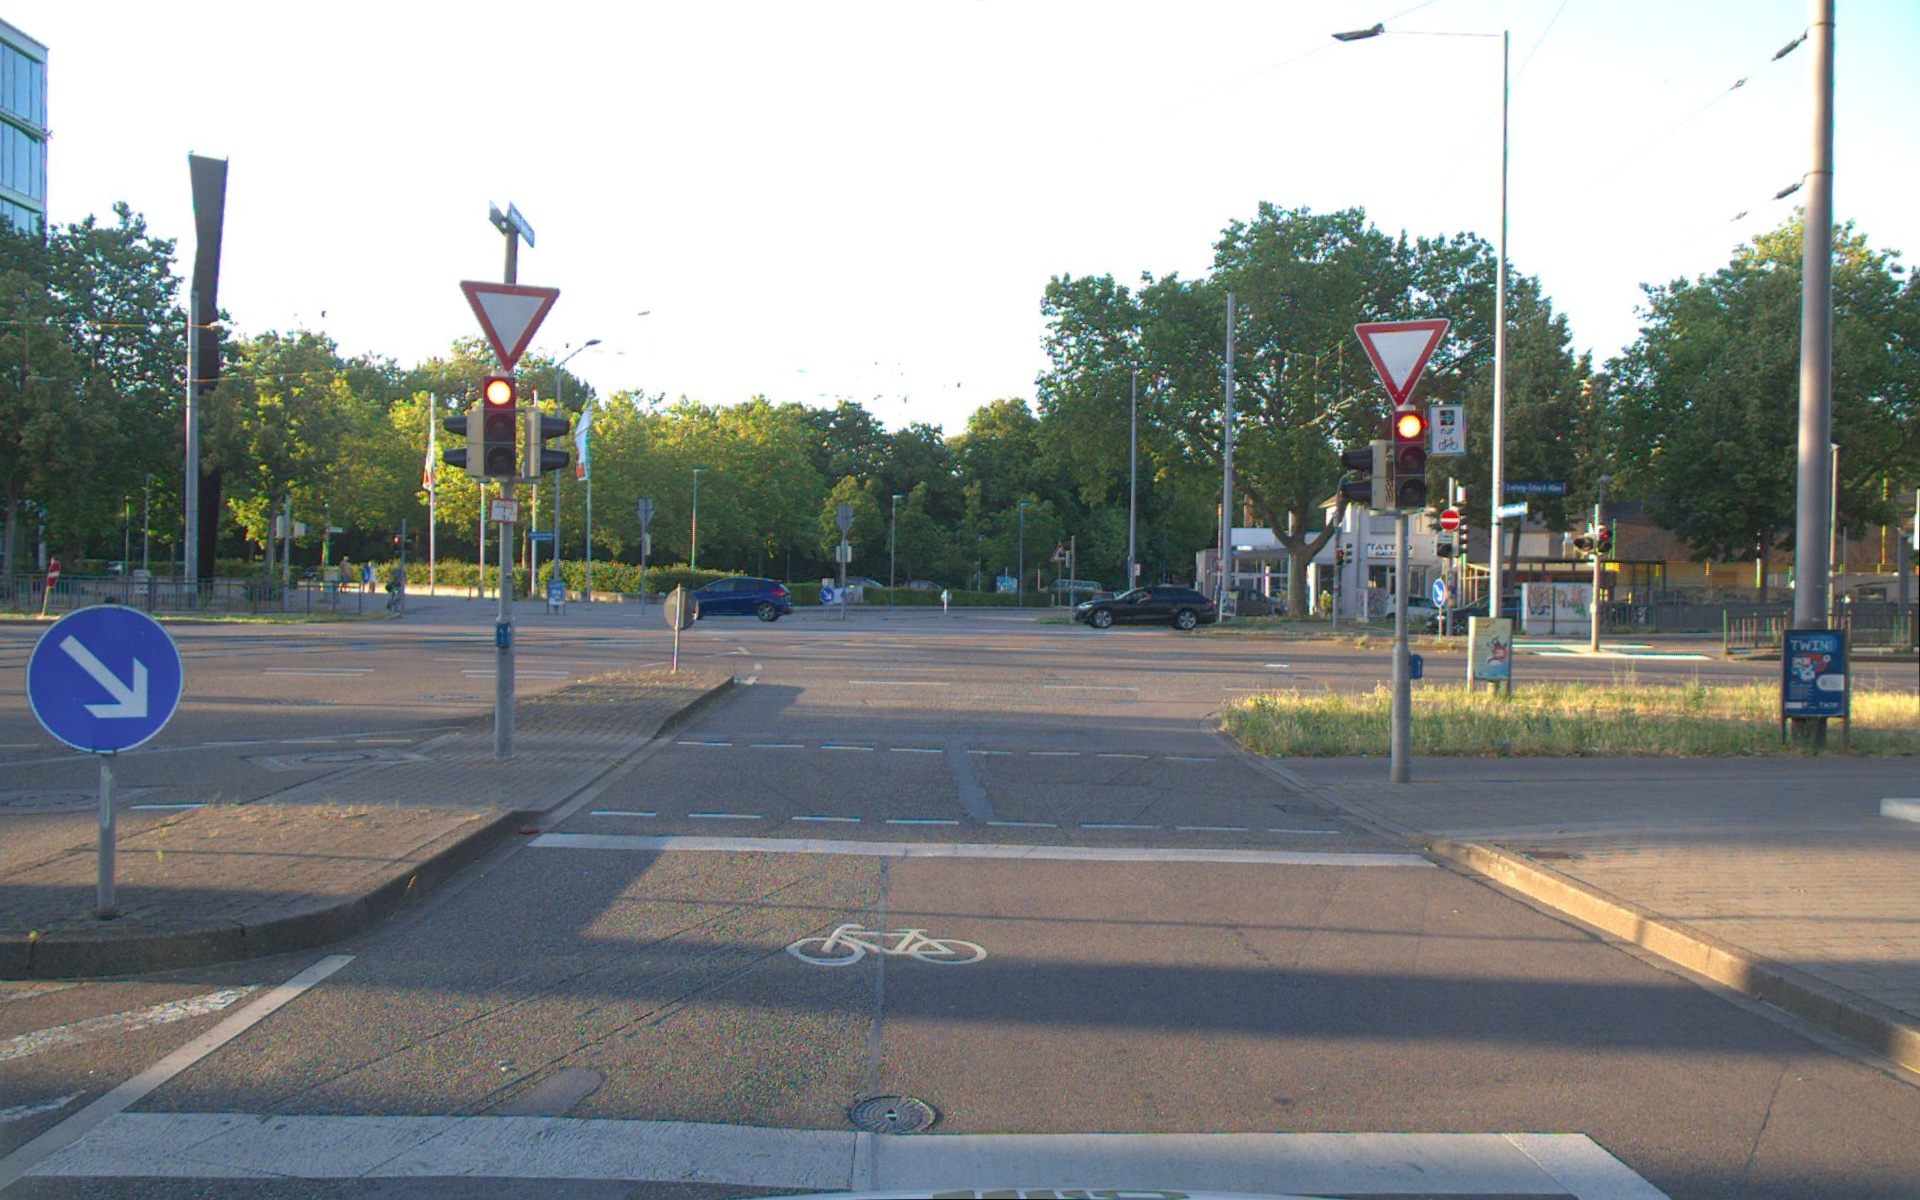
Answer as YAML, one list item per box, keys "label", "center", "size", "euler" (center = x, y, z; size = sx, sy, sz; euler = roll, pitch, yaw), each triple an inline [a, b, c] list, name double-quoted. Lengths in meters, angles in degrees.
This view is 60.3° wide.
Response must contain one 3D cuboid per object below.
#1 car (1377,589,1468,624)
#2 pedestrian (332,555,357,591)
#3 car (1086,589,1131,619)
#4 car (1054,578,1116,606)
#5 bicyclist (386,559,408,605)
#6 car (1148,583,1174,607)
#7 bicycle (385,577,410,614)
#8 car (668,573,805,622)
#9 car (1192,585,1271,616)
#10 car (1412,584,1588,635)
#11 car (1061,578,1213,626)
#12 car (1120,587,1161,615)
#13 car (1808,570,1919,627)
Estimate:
- label: "car"
  center: [20.260, 0.291, 72.574]
  size: [3.659, 1.465, 1.665]
  euler: [1, -1, 9]
- label: "pedestrian"
  center: [-30.401, -1.338, 81.717]
  size: [0.846, 1.774, 0.827]
  euler: [1, 0, 36]
- label: "car"
  center: [8.621, 0.226, 95.805]
  size: [1.951, 1.691, 4.003]
  euler: [0, -1, 14]
- label: "car"
  center: [9.506, -0.582, 126.020]
  size: [4.675, 2.041, 2.000]
  euler: [1, -1, 1]
- label: "bicyclist"
  center: [-21.517, -0.684, 63.171]
  size: [0.740, 1.739, 0.914]
  euler: [1, 0, -22]
- label: "car"
  center: [15.996, -0.356, 131.430]
  size: [1.823, 1.825, 4.003]
  euler: [1, -1, 10]
- label: "bicycle"
  center: [-21.444, -0.194, 63.033]
  size: [0.720, 1.364, 2.673]
  euler: [1, 1, -22]
- label: "car"
  center: [-7.608, -0.078, 56.670]
  size: [4.380, 1.579, 2.000]
  euler: [1, -1, 0]
- label: "car"
  center: [14.653, 0.029, 89.382]
  size: [4.129, 1.579, 2.001]
  euler: [1, -1, 7]
- label: "car"
  center: [17.636, 0.303, 54.132]
  size: [5.119, 1.579, 1.999]
  euler: [1, -1, -2]
- label: "car"
  center: [6.058, 0.078, 56.929]
  size: [4.997, 1.579, 1.999]
  euler: [1, -1, -2]
- label: "car"
  center: [11.318, 0.100, 103.535]
  size: [1.951, 1.691, 4.003]
  euler: [0, -1, 14]
- label: "car"
  center: [43.659, -0.065, 78.694]
  size: [5.476, 2.596, 2.231]
  euler: [1, 0, 7]
